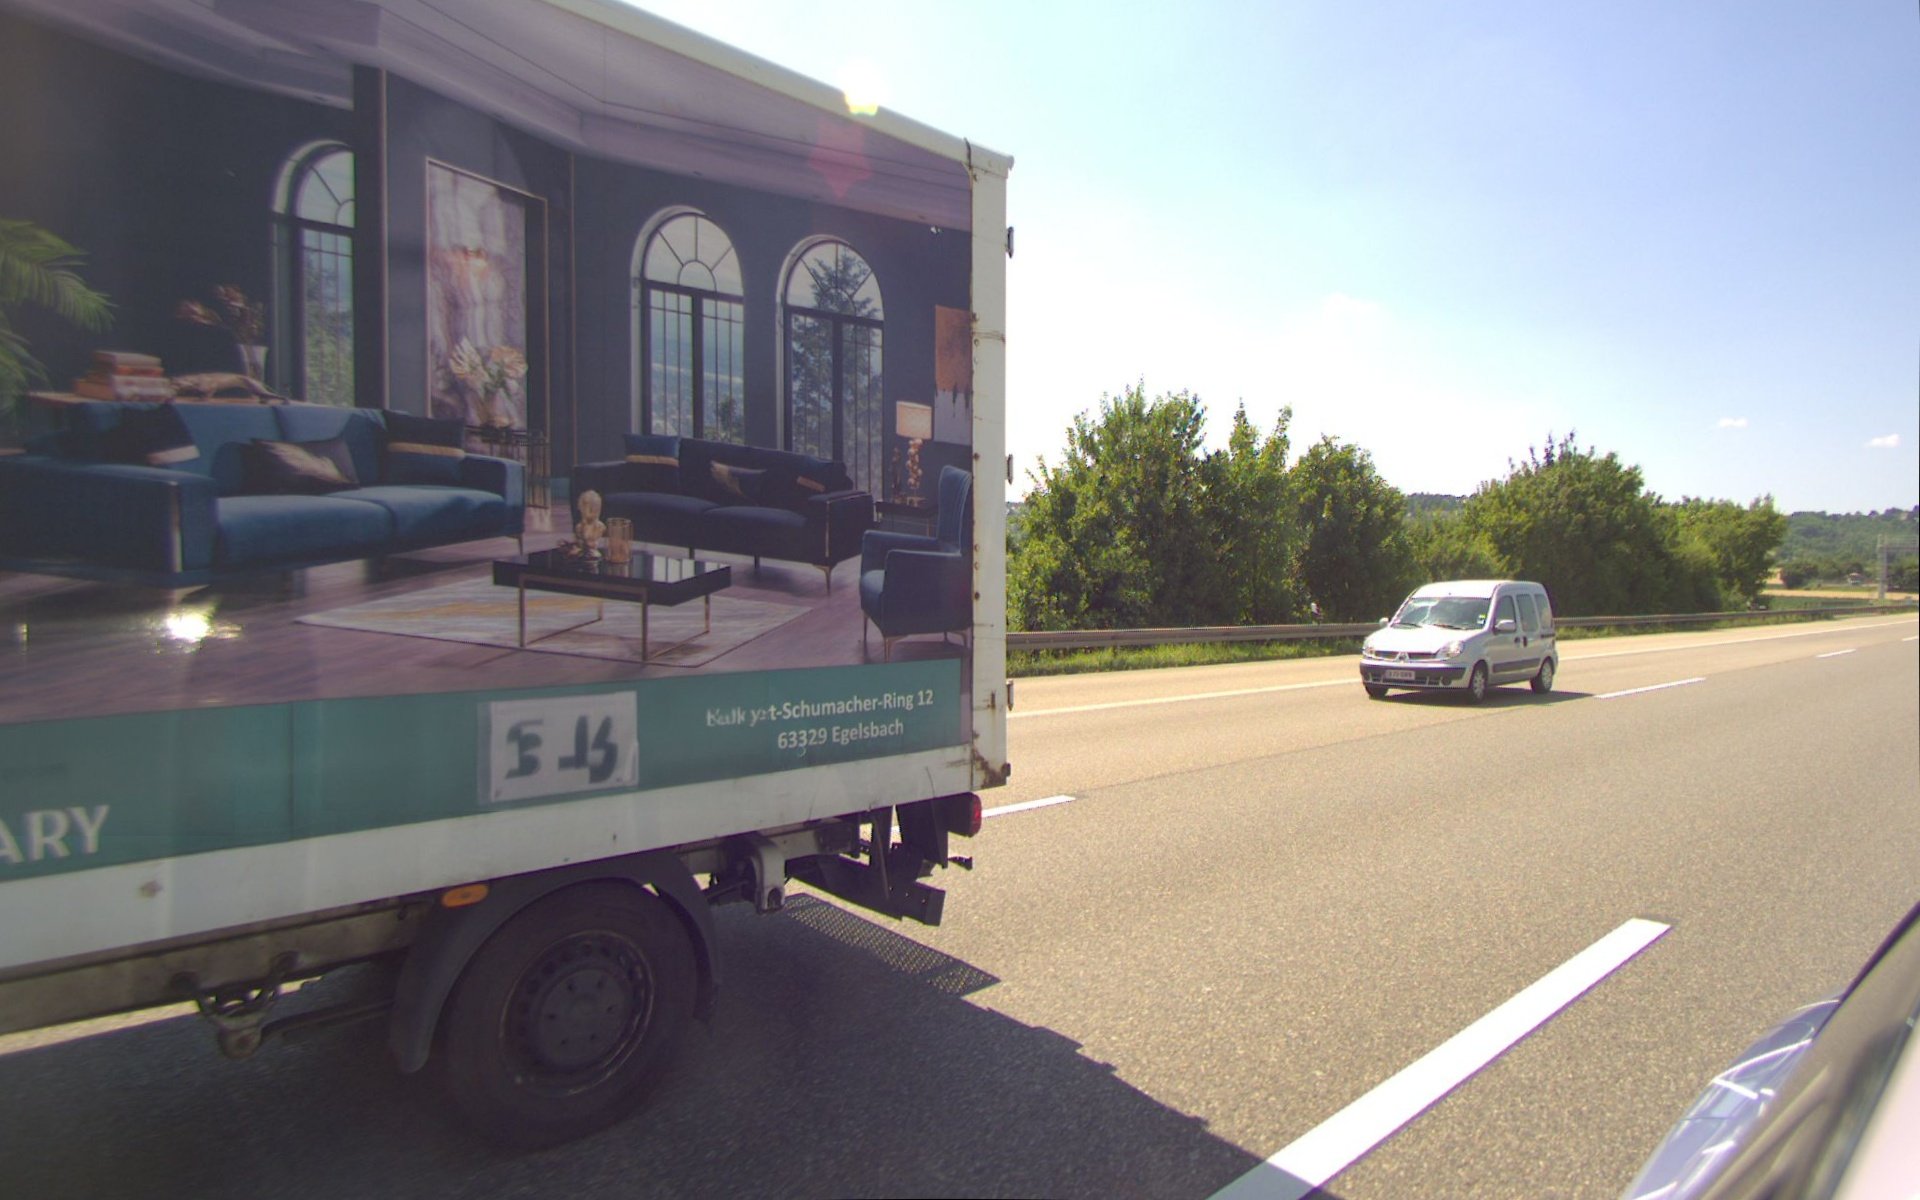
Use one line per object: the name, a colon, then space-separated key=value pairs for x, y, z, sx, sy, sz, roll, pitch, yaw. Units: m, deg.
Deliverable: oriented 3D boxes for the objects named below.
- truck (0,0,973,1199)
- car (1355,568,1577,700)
truck: x=-3.190 y=-0.159 z=2.069 sx=6.634 sy=3.106 sz=2.324 roll=0 pitch=0 yaw=-42
car: x=7.754 y=0.454 z=15.372 sx=3.902 sy=1.759 sz=1.630 roll=0 pitch=0 yaw=-40
